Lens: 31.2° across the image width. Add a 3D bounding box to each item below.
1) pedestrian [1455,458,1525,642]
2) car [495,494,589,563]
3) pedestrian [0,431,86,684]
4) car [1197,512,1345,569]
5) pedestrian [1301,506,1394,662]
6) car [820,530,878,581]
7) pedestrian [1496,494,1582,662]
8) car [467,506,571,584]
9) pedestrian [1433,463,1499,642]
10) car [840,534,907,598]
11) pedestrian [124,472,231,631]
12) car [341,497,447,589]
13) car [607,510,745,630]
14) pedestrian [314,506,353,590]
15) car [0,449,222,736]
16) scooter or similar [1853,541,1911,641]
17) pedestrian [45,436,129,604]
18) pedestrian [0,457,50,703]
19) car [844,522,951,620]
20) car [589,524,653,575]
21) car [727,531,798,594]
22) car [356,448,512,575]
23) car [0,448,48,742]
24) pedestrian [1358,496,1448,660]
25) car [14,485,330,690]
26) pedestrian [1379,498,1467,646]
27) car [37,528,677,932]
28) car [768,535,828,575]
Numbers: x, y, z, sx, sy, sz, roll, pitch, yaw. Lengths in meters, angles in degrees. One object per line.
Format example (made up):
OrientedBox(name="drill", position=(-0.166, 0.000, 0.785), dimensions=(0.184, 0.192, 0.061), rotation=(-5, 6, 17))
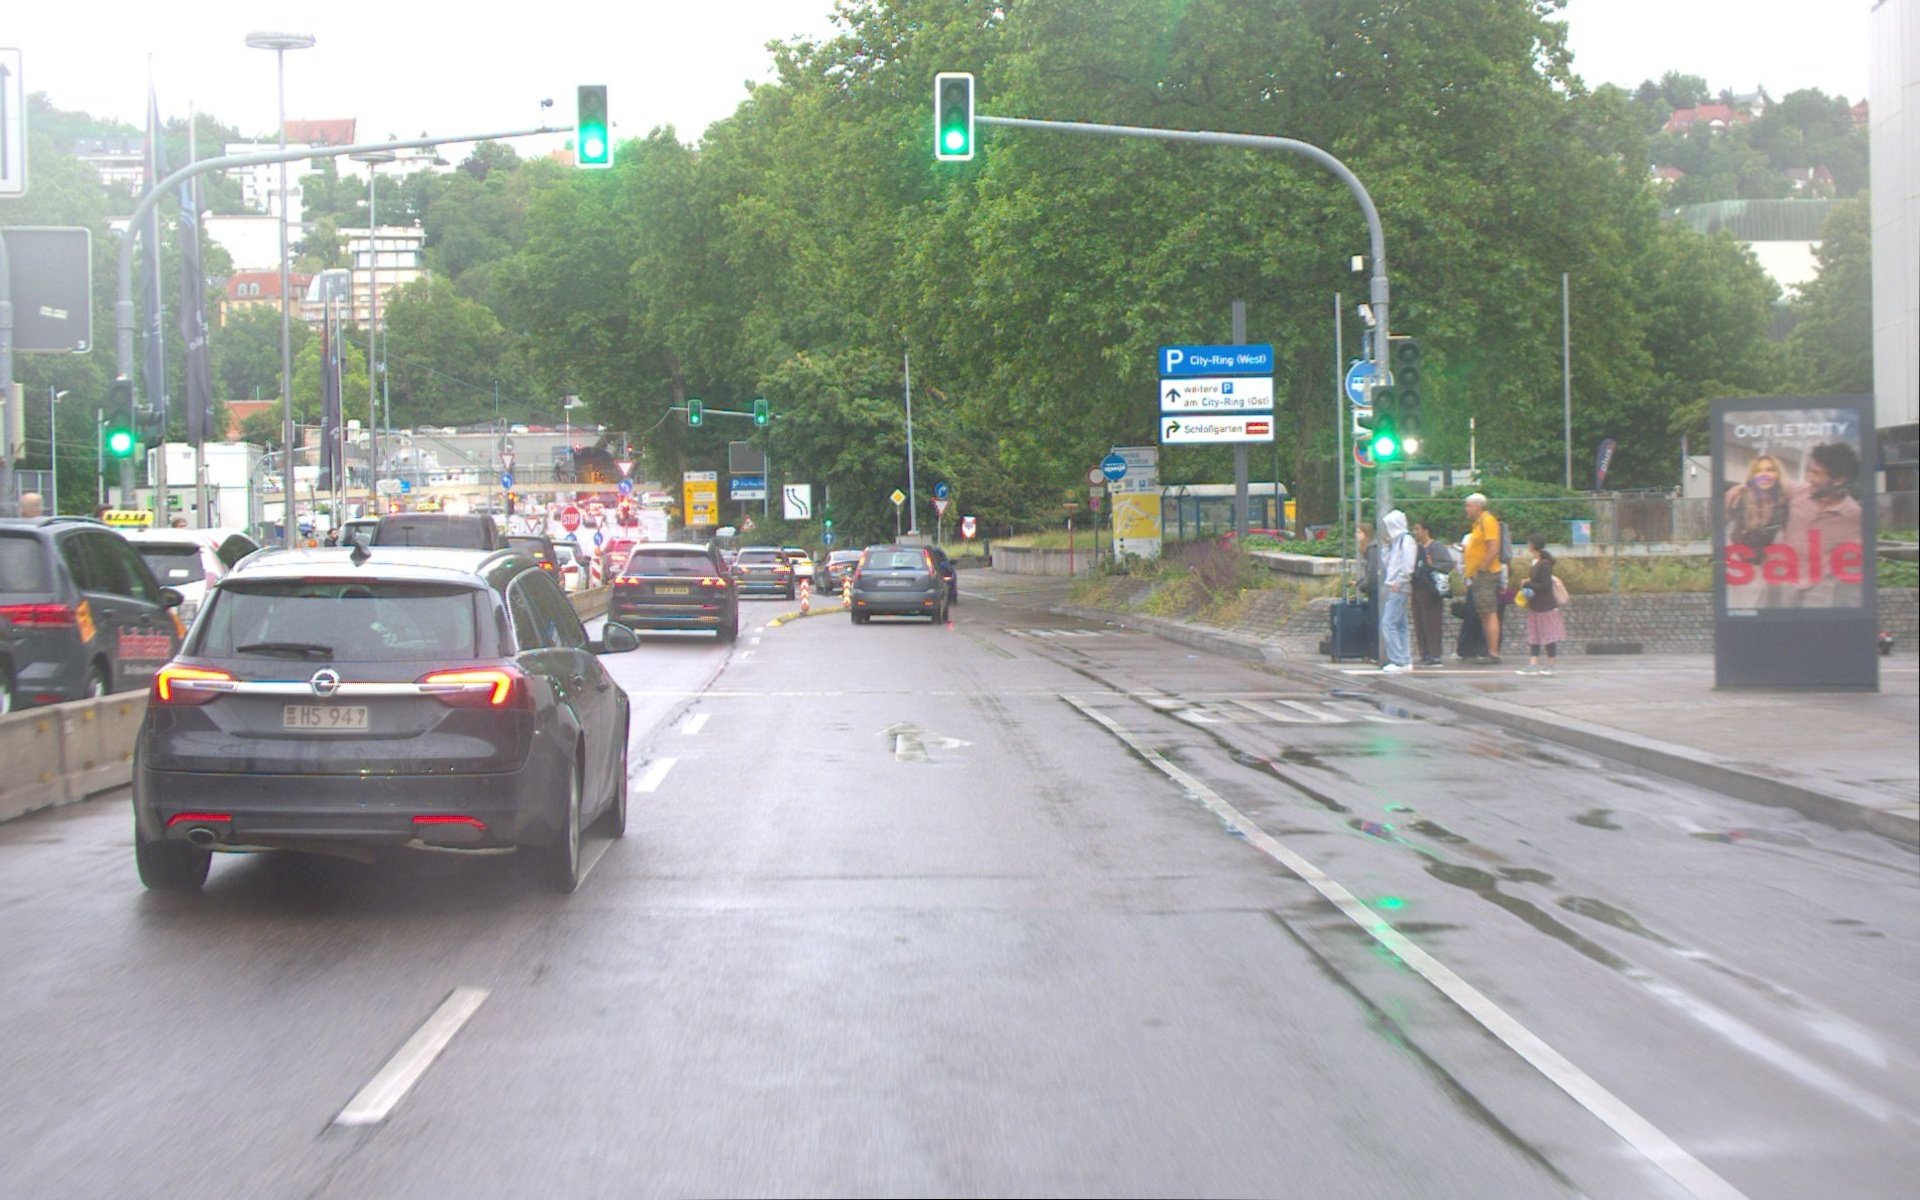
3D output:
OrientedBox(name="pedestrian", position=(6.248, -0.594, 40.564), dimensions=(0.554, 2.138, 0.668), rotation=(-1, 1, -15))
OrientedBox(name="car", position=(-10.181, -1.729, 84.008), dimensions=(1.993, 1.562, 4.877), rotation=(-2, 1, -4))
OrientedBox(name="pedestrian", position=(-7.424, -0.348, 27.723), dimensions=(0.527, 2.007, 0.891), rotation=(-1, 1, -3))
OrientedBox(name="car", position=(8.373, -1.608, 92.770), dimensions=(3.615, 1.500, 1.730), rotation=(1, 1, 38))
OrientedBox(name="pedestrian", position=(4.639, -0.195, 41.209), dimensions=(0.786, 1.832, 0.951), rotation=(-1, 1, -15))
OrientedBox(name="car", position=(-3.626, -1.433, 111.476), dimensions=(1.634, 1.619, 3.796), rotation=(0, 1, -6))
OrientedBox(name="pedestrian", position=(6.290, -0.239, 37.348), dimensions=(0.539, 1.798, 0.758), rotation=(-2, 1, -28))
OrientedBox(name="car", position=(-8.794, -1.107, 68.801), dimensions=(1.823, 1.506, 4.491), rotation=(0, 1, -4))
OrientedBox(name="pedestrian", position=(6.132, -0.577, 41.622), dimensions=(0.709, 2.138, 0.721), rotation=(-1, 1, 11))
OrientedBox(name="car", position=(-2.187, -0.870, 87.446), dimensions=(1.674, 1.576, 3.240), rotation=(0, 1, -1))
OrientedBox(name="pedestrian", position=(-9.392, -0.586, 41.276), dimensions=(1.005, 1.880, 0.682), rotation=(-1, 1, 22))
OrientedBox(name="car", position=(-12.683, -1.277, 77.272), dimensions=(1.993, 2.007, 5.371), rotation=(0, 1, -6))
OrientedBox(name="car", position=(-4.194, -0.475, 51.222), dimensions=(1.830, 1.680, 4.134), rotation=(-1, 1, -2))
OrientedBox(name="pedestrian", position=(-13.133, -1.092, 72.074), dimensions=(0.635, 1.747, 0.822), rotation=(0, 1, 2))
OrientedBox(name="car", position=(-6.705, -0.088, 24.987), dimensions=(1.713, 1.885, 4.610), rotation=(-1, 1, -1))
OrientedBox(name="scooter or similar", position=(11.361, -0.123, 42.397), dimensions=(0.352, 1.212, 1.158), rotation=(1, 1, -2))
OrientedBox(name="pedestrian", position=(-9.922, -0.922, 39.083), dimensions=(0.830, 1.879, 0.691), rotation=(-1, 3, -10))
OrientedBox(name="pedestrian", position=(-8.191, -0.166, 28.282), dimensions=(0.835, 2.007, 1.026), rotation=(0, 2, 37))
OrientedBox(name="car", position=(-1.166, -0.543, 62.686), dimensions=(1.851, 1.711, 4.001), rotation=(0, 1, -2))
OrientedBox(name="car", position=(-12.274, -1.828, 124.308), dimensions=(1.993, 1.820, 4.001), rotation=(0, 1, -11))
OrientedBox(name="car", position=(-5.458, -1.059, 95.435), dimensions=(1.904, 1.711, 4.001), rotation=(0, 1, -2))
OrientedBox(name="car", position=(-8.019, -1.331, 52.799), dimensions=(1.993, 1.839, 5.063), rotation=(0, 1, -4))
OrientedBox(name="car", position=(-6.784, 0.019, 19.528), dimensions=(1.993, 1.781, 4.848), rotation=(-1, 1, -1))
OrientedBox(name="pedestrian", position=(4.939, -0.246, 38.365), dimensions=(0.745, 1.798, 0.710), rotation=(-1, 1, -15))
OrientedBox(name="car", position=(-7.019, -0.157, 31.088), dimensions=(1.786, 1.680, 4.667), rotation=(-1, 1, 0))
OrientedBox(name="pedestrian", position=(5.368, -0.330, 39.880), dimensions=(0.875, 1.685, 0.758), rotation=(-1, 1, -1))
OrientedBox(name="car", position=(-2.472, 0.441, 15.374), dimensions=(1.877, 1.503, 4.852), rotation=(-1, 1, 1))
OrientedBox(name="car", position=(-6.432, -1.778, 136.357), dimensions=(1.813, 1.569, 4.001), rotation=(0, 1, -11))
